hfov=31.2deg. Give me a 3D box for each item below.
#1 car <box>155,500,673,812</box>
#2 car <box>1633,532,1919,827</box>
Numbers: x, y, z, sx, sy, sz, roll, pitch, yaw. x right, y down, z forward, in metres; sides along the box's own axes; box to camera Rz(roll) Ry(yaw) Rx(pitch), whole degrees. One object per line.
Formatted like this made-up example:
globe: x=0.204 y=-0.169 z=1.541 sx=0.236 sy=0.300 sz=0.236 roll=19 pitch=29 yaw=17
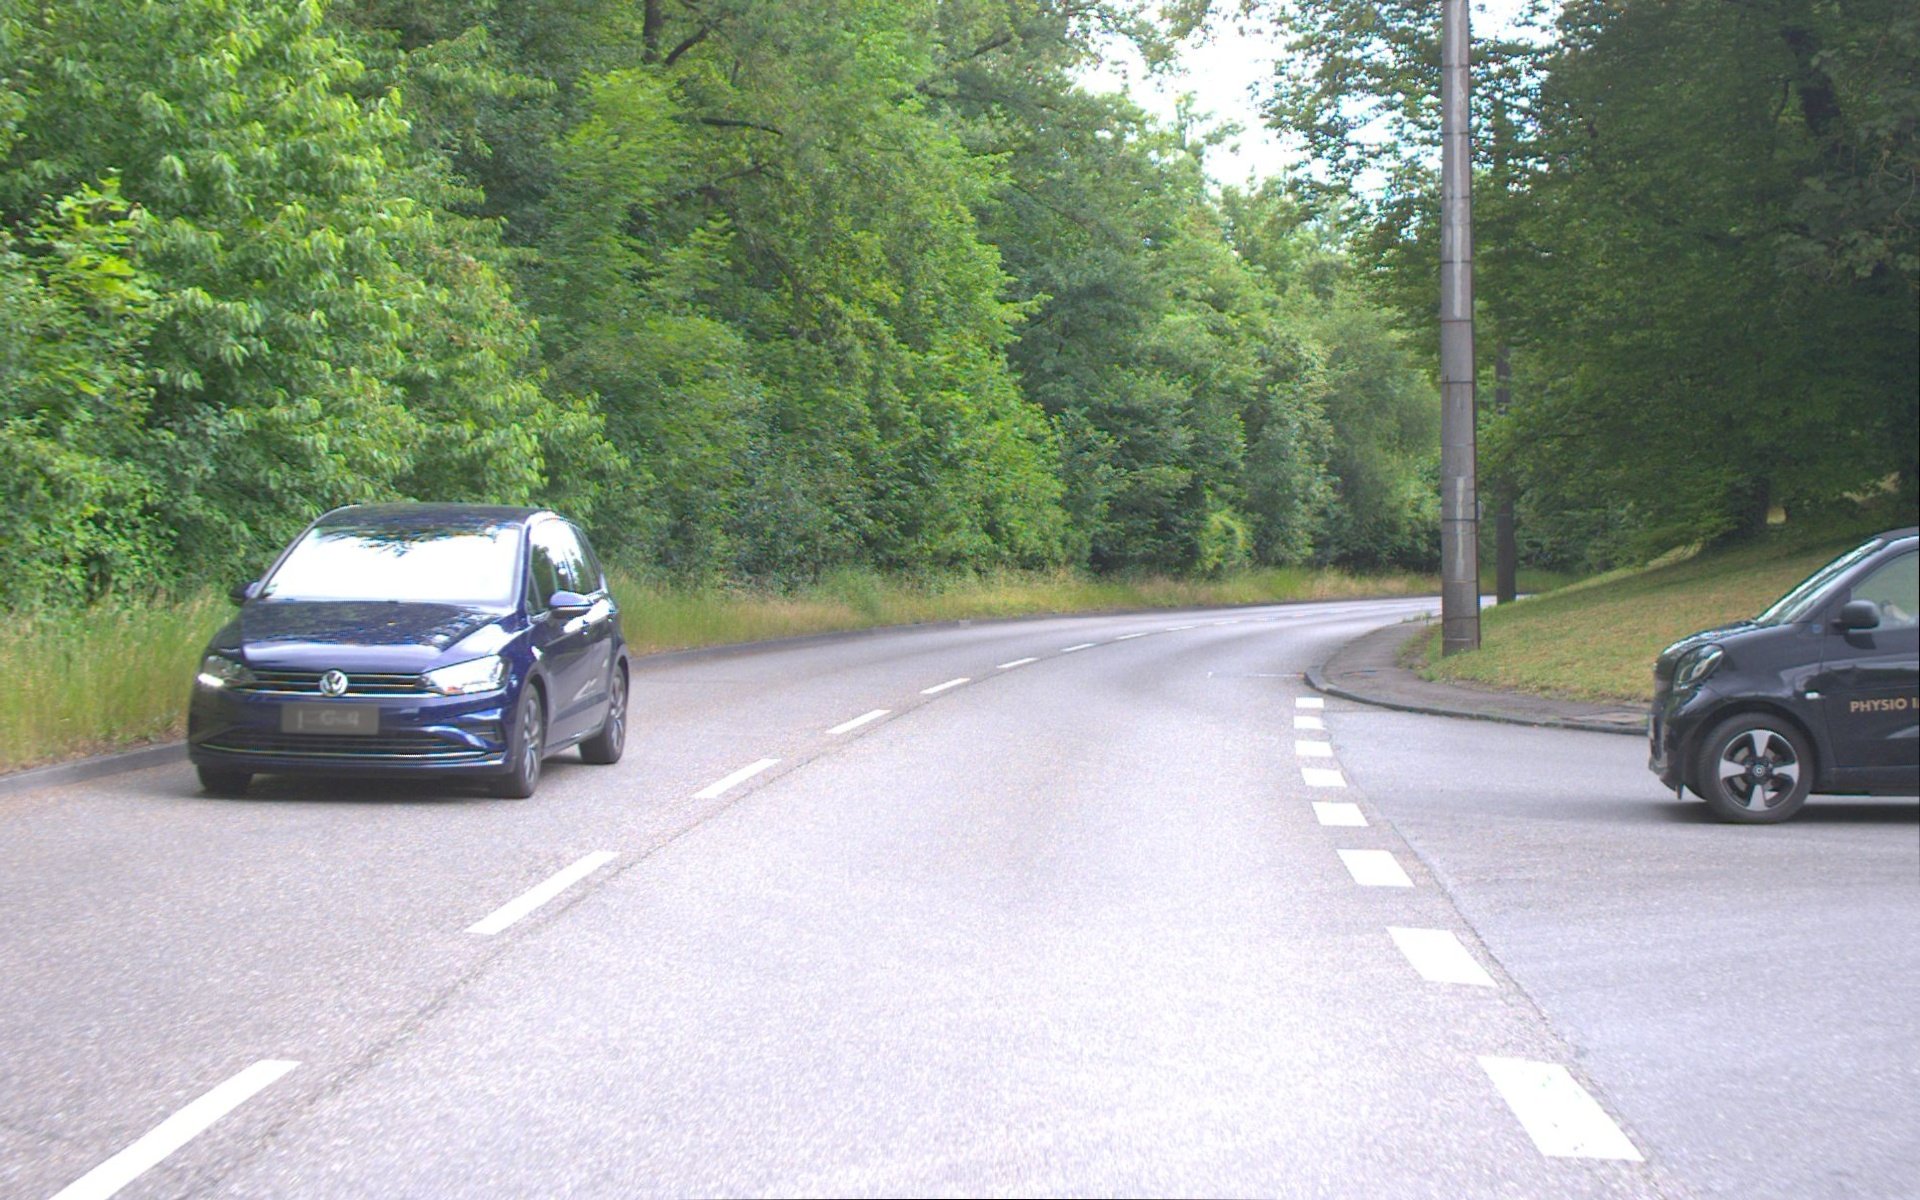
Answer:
car: x=-2.938 y=0.246 z=19.607 sx=1.789 sy=1.509 sz=4.841 roll=2 pitch=1 yaw=5
car: x=5.304 y=0.386 z=18.204 sx=3.304 sy=1.489 sz=1.667 roll=0 pitch=1 yaw=7
